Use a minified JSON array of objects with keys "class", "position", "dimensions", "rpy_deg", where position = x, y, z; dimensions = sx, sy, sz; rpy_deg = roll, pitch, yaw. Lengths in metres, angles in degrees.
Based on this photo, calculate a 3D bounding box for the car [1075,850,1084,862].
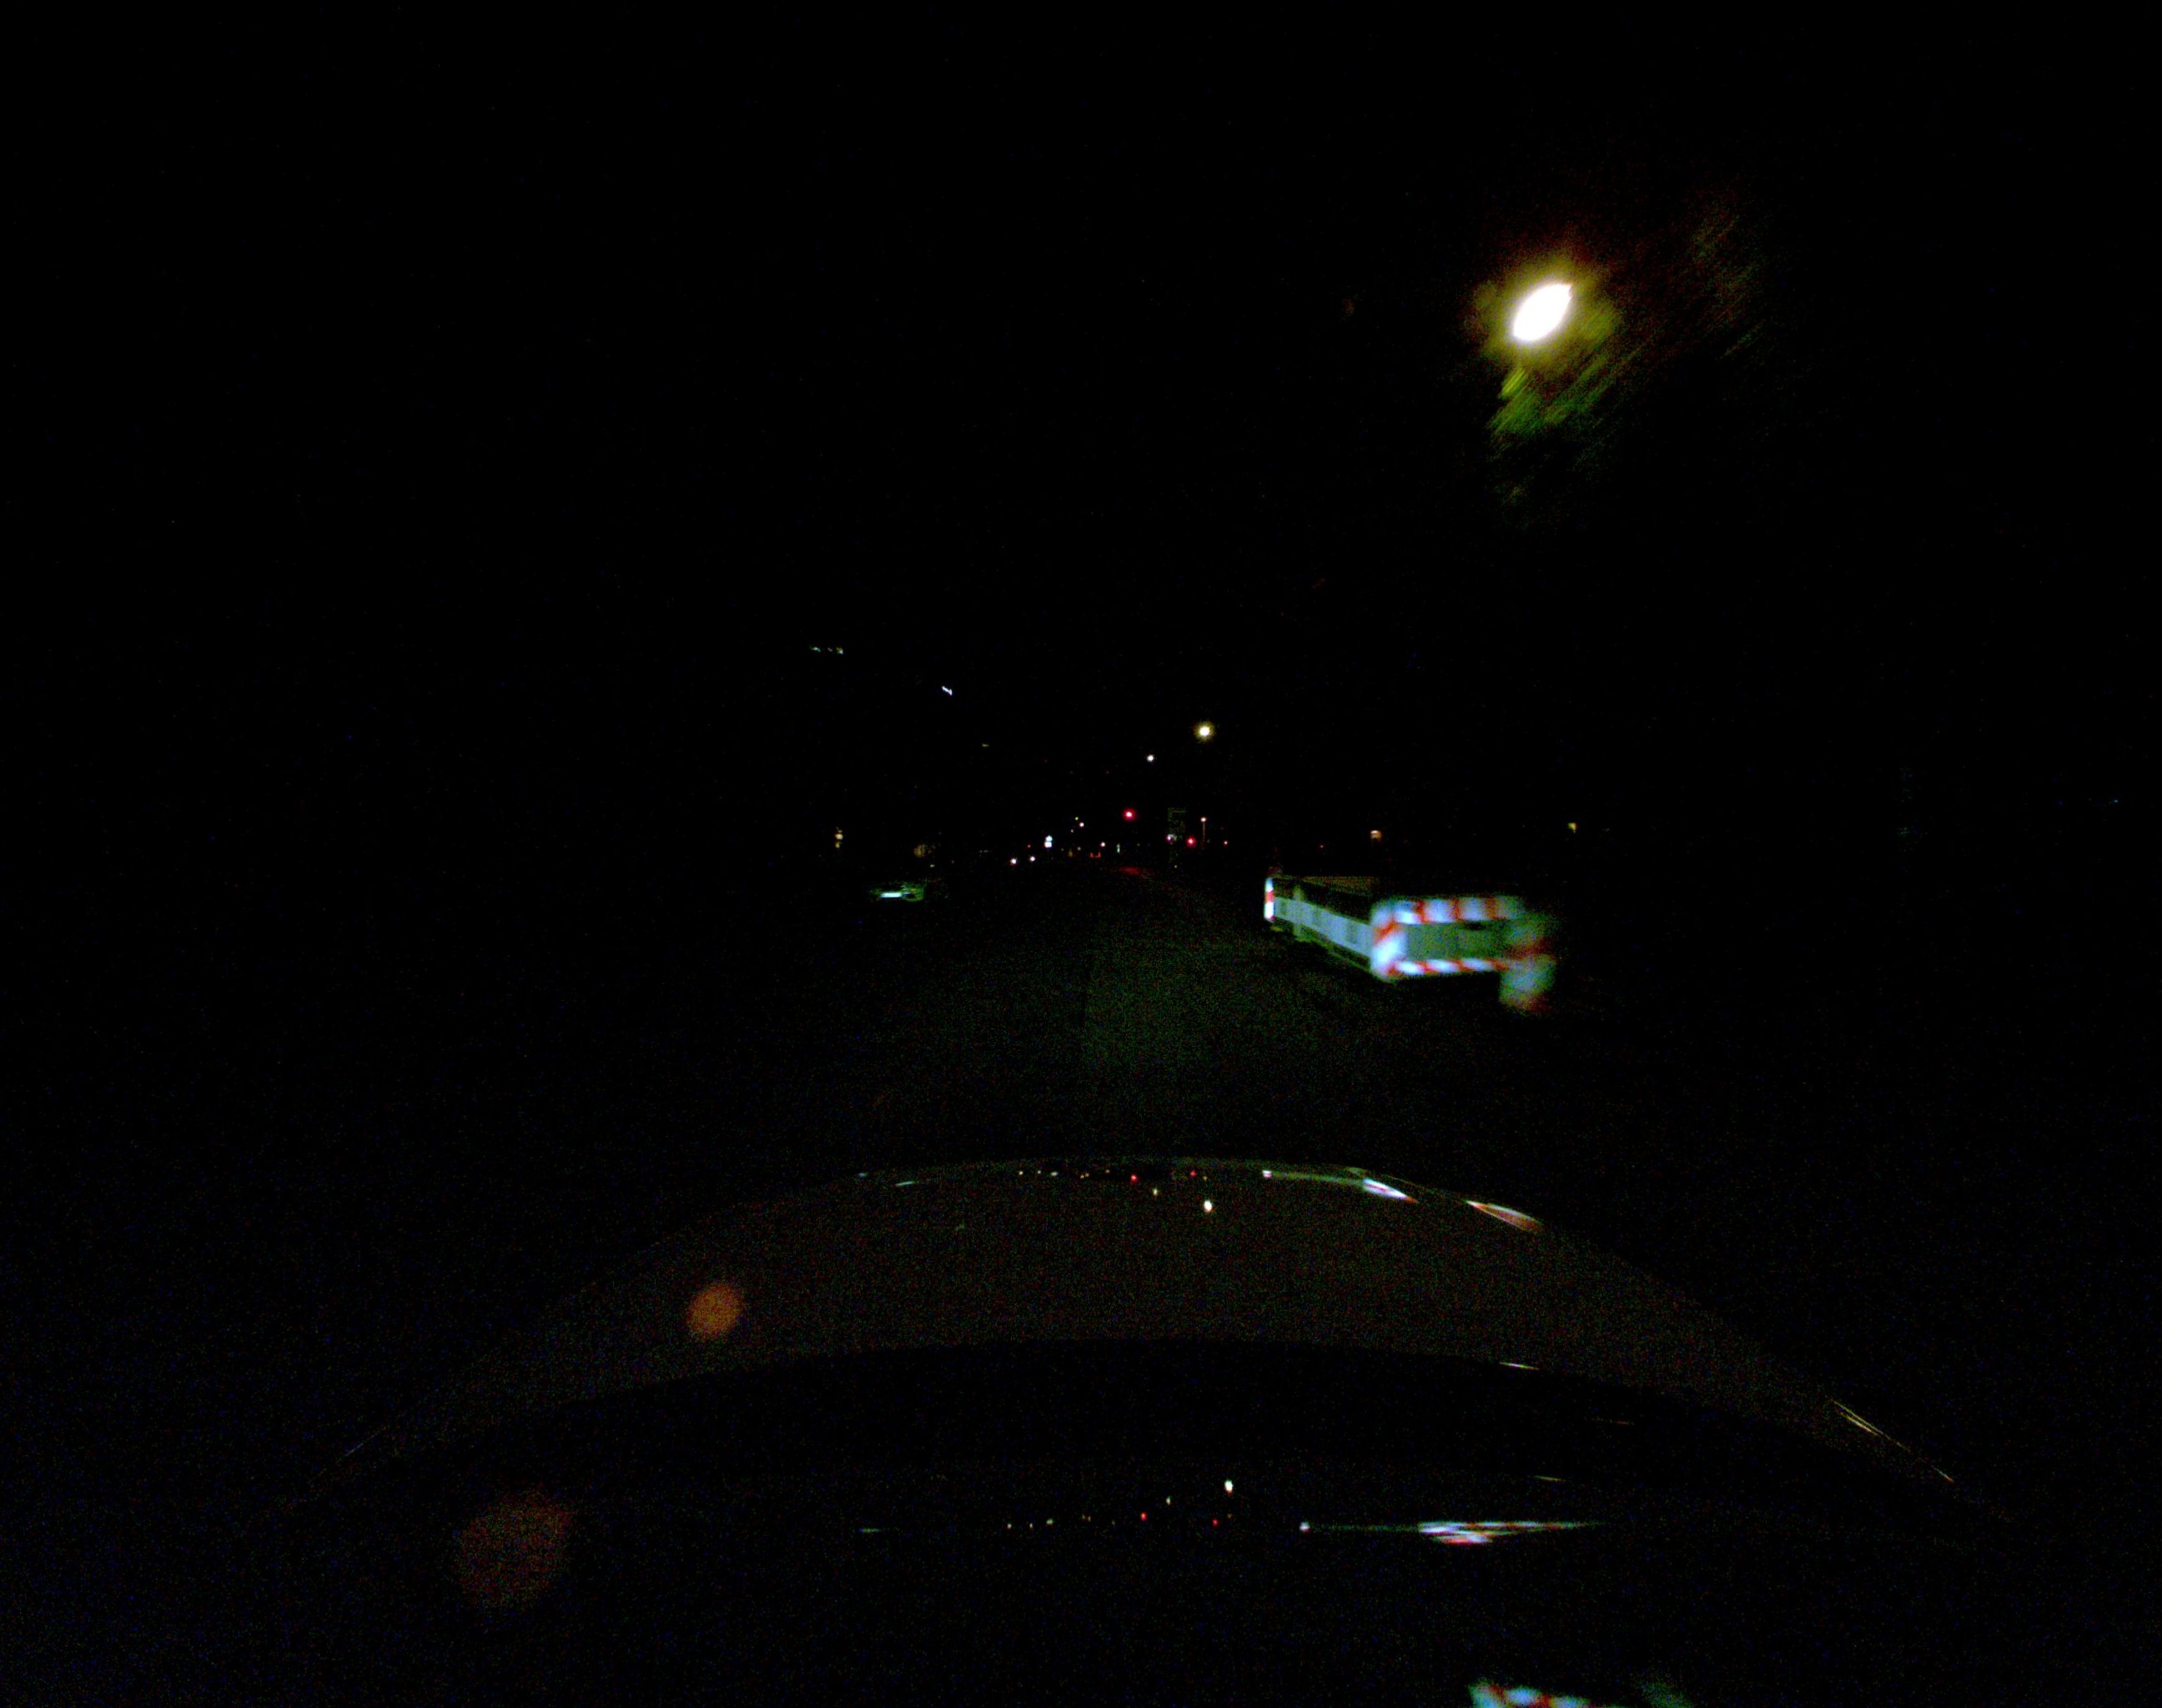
[{"class":"car","position":[-0.317,0.604,206.881],"dimensions":[1.989,2.974,3.995],"rpy_deg":[-1,0,-3]}]

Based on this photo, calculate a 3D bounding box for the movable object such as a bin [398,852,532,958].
[{"class":"movable object such as a bin","position":[-9.163,0.730,12.177],"dimensions":[1.161,1.496,1.065],"rpy_deg":[-1,0,-1]}]

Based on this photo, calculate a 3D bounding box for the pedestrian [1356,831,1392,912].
[{"class":"pedestrian","position":[6.859,0.409,19.092],"dimensions":[0.568,1.852,0.820],"rpy_deg":[-1,0,3]}]

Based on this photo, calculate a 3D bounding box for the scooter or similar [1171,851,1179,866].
[{"class":"scooter or similar","position":[7.997,0.363,69.394],"dimensions":[0.492,1.262,1.321],"rpy_deg":[-3,0,4]}]

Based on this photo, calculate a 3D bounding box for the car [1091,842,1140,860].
[{"class":"car","position":[9.343,-0.922,219.847],"dimensions":[12.393,4.709,4.790],"rpy_deg":[-1,0,-12]}]

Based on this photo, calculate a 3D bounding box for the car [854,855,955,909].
[{"class":"car","position":[-5.222,0.780,24.697],"dimensions":[1.903,1.404,4.341],"rpy_deg":[-1,0,3]}]

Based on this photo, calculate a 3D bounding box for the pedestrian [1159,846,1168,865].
[{"class":"pedestrian","position":[8.593,0.121,84.639],"dimensions":[0.738,1.981,0.622],"rpy_deg":[-1,0,-15]}]
